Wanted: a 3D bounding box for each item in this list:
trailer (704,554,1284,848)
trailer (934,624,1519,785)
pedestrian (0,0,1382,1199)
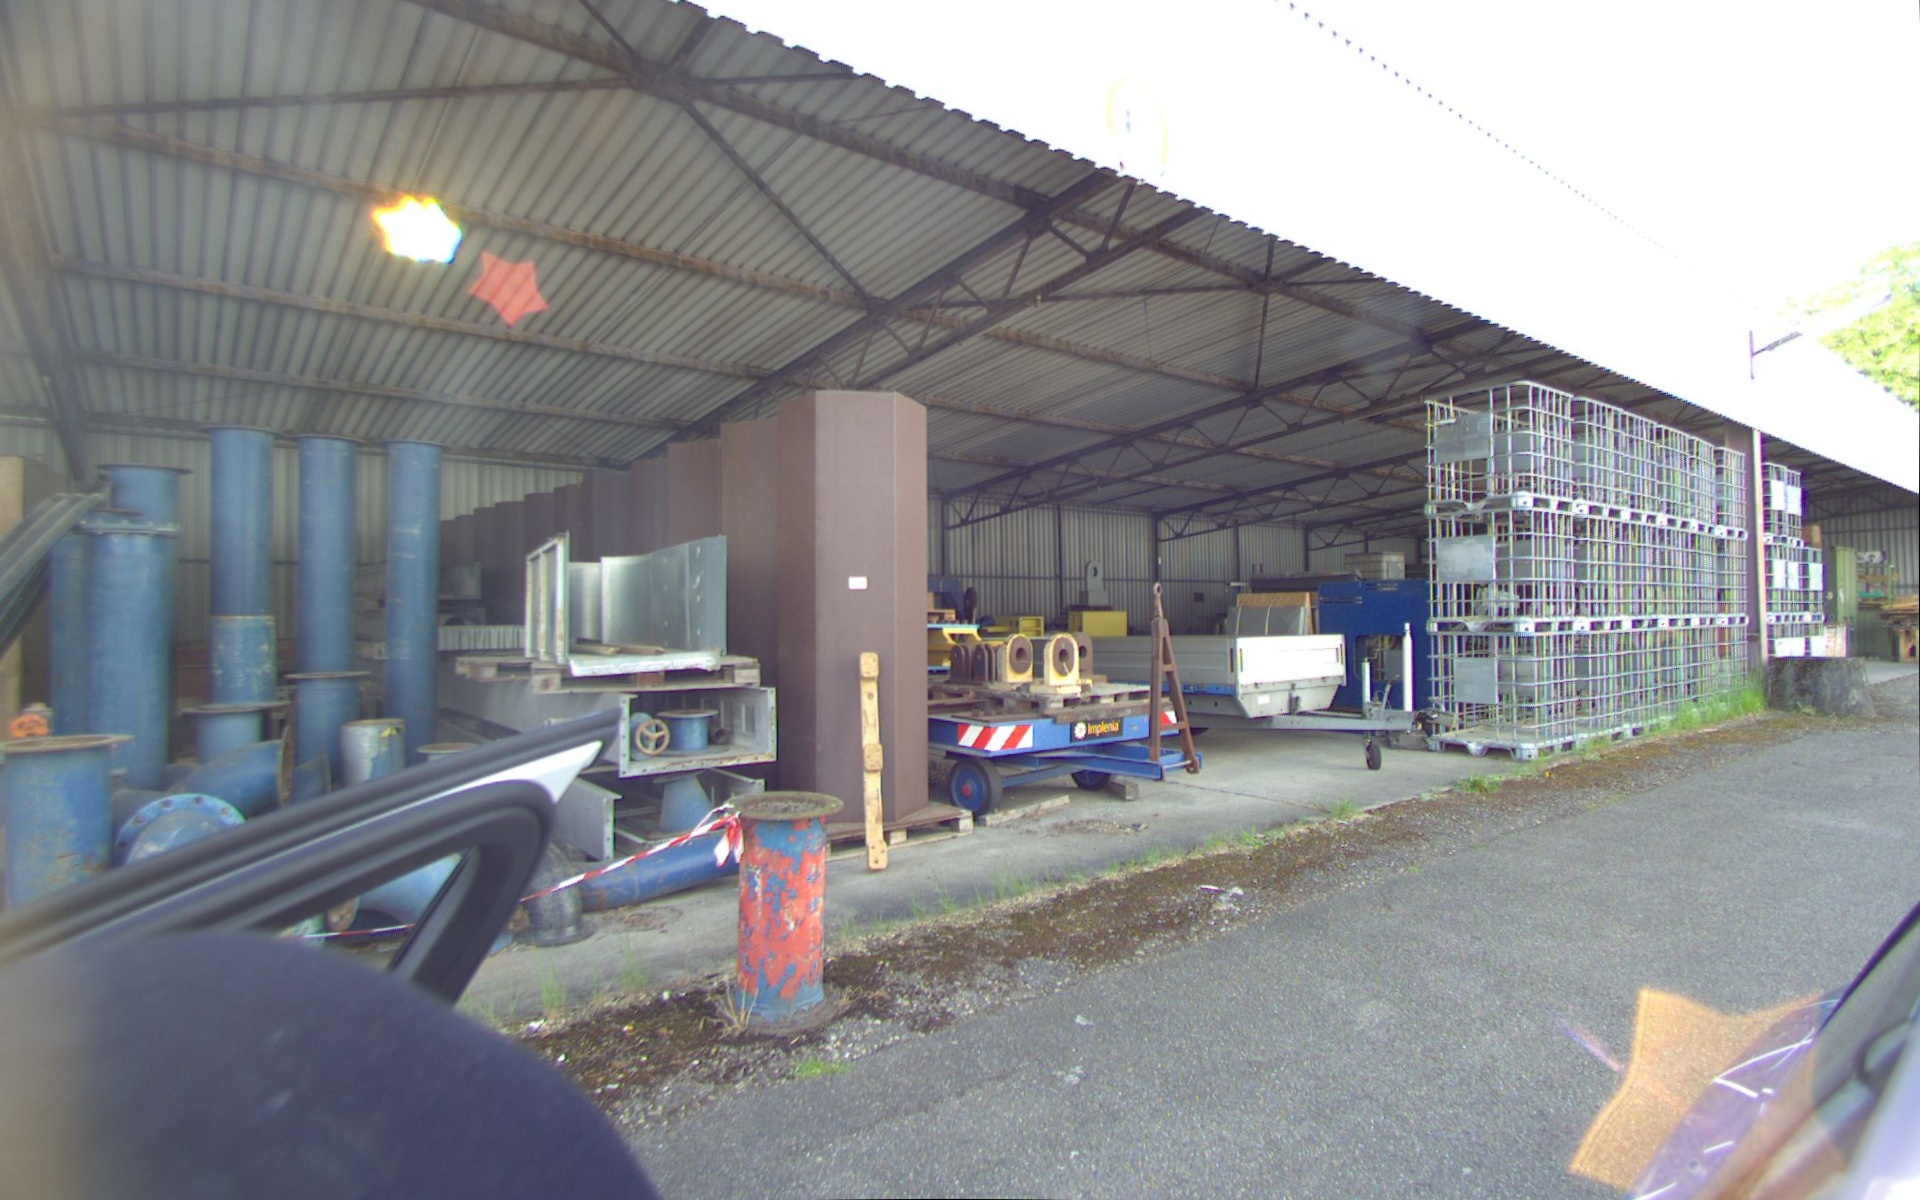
[{"bbox_3d":[-0.089,0.586,8.204,1.993,1.649,4.877,0,-1,-39],"label":"trailer"},{"bbox_3d":[2.288,0.853,10.496,1.993,1.134,5.834,0,-1,-39],"label":"trailer"},{"bbox_3d":[-0.169,0.565,0.542,0.560,1.809,0.551,0,-1,-41],"label":"pedestrian"}]
